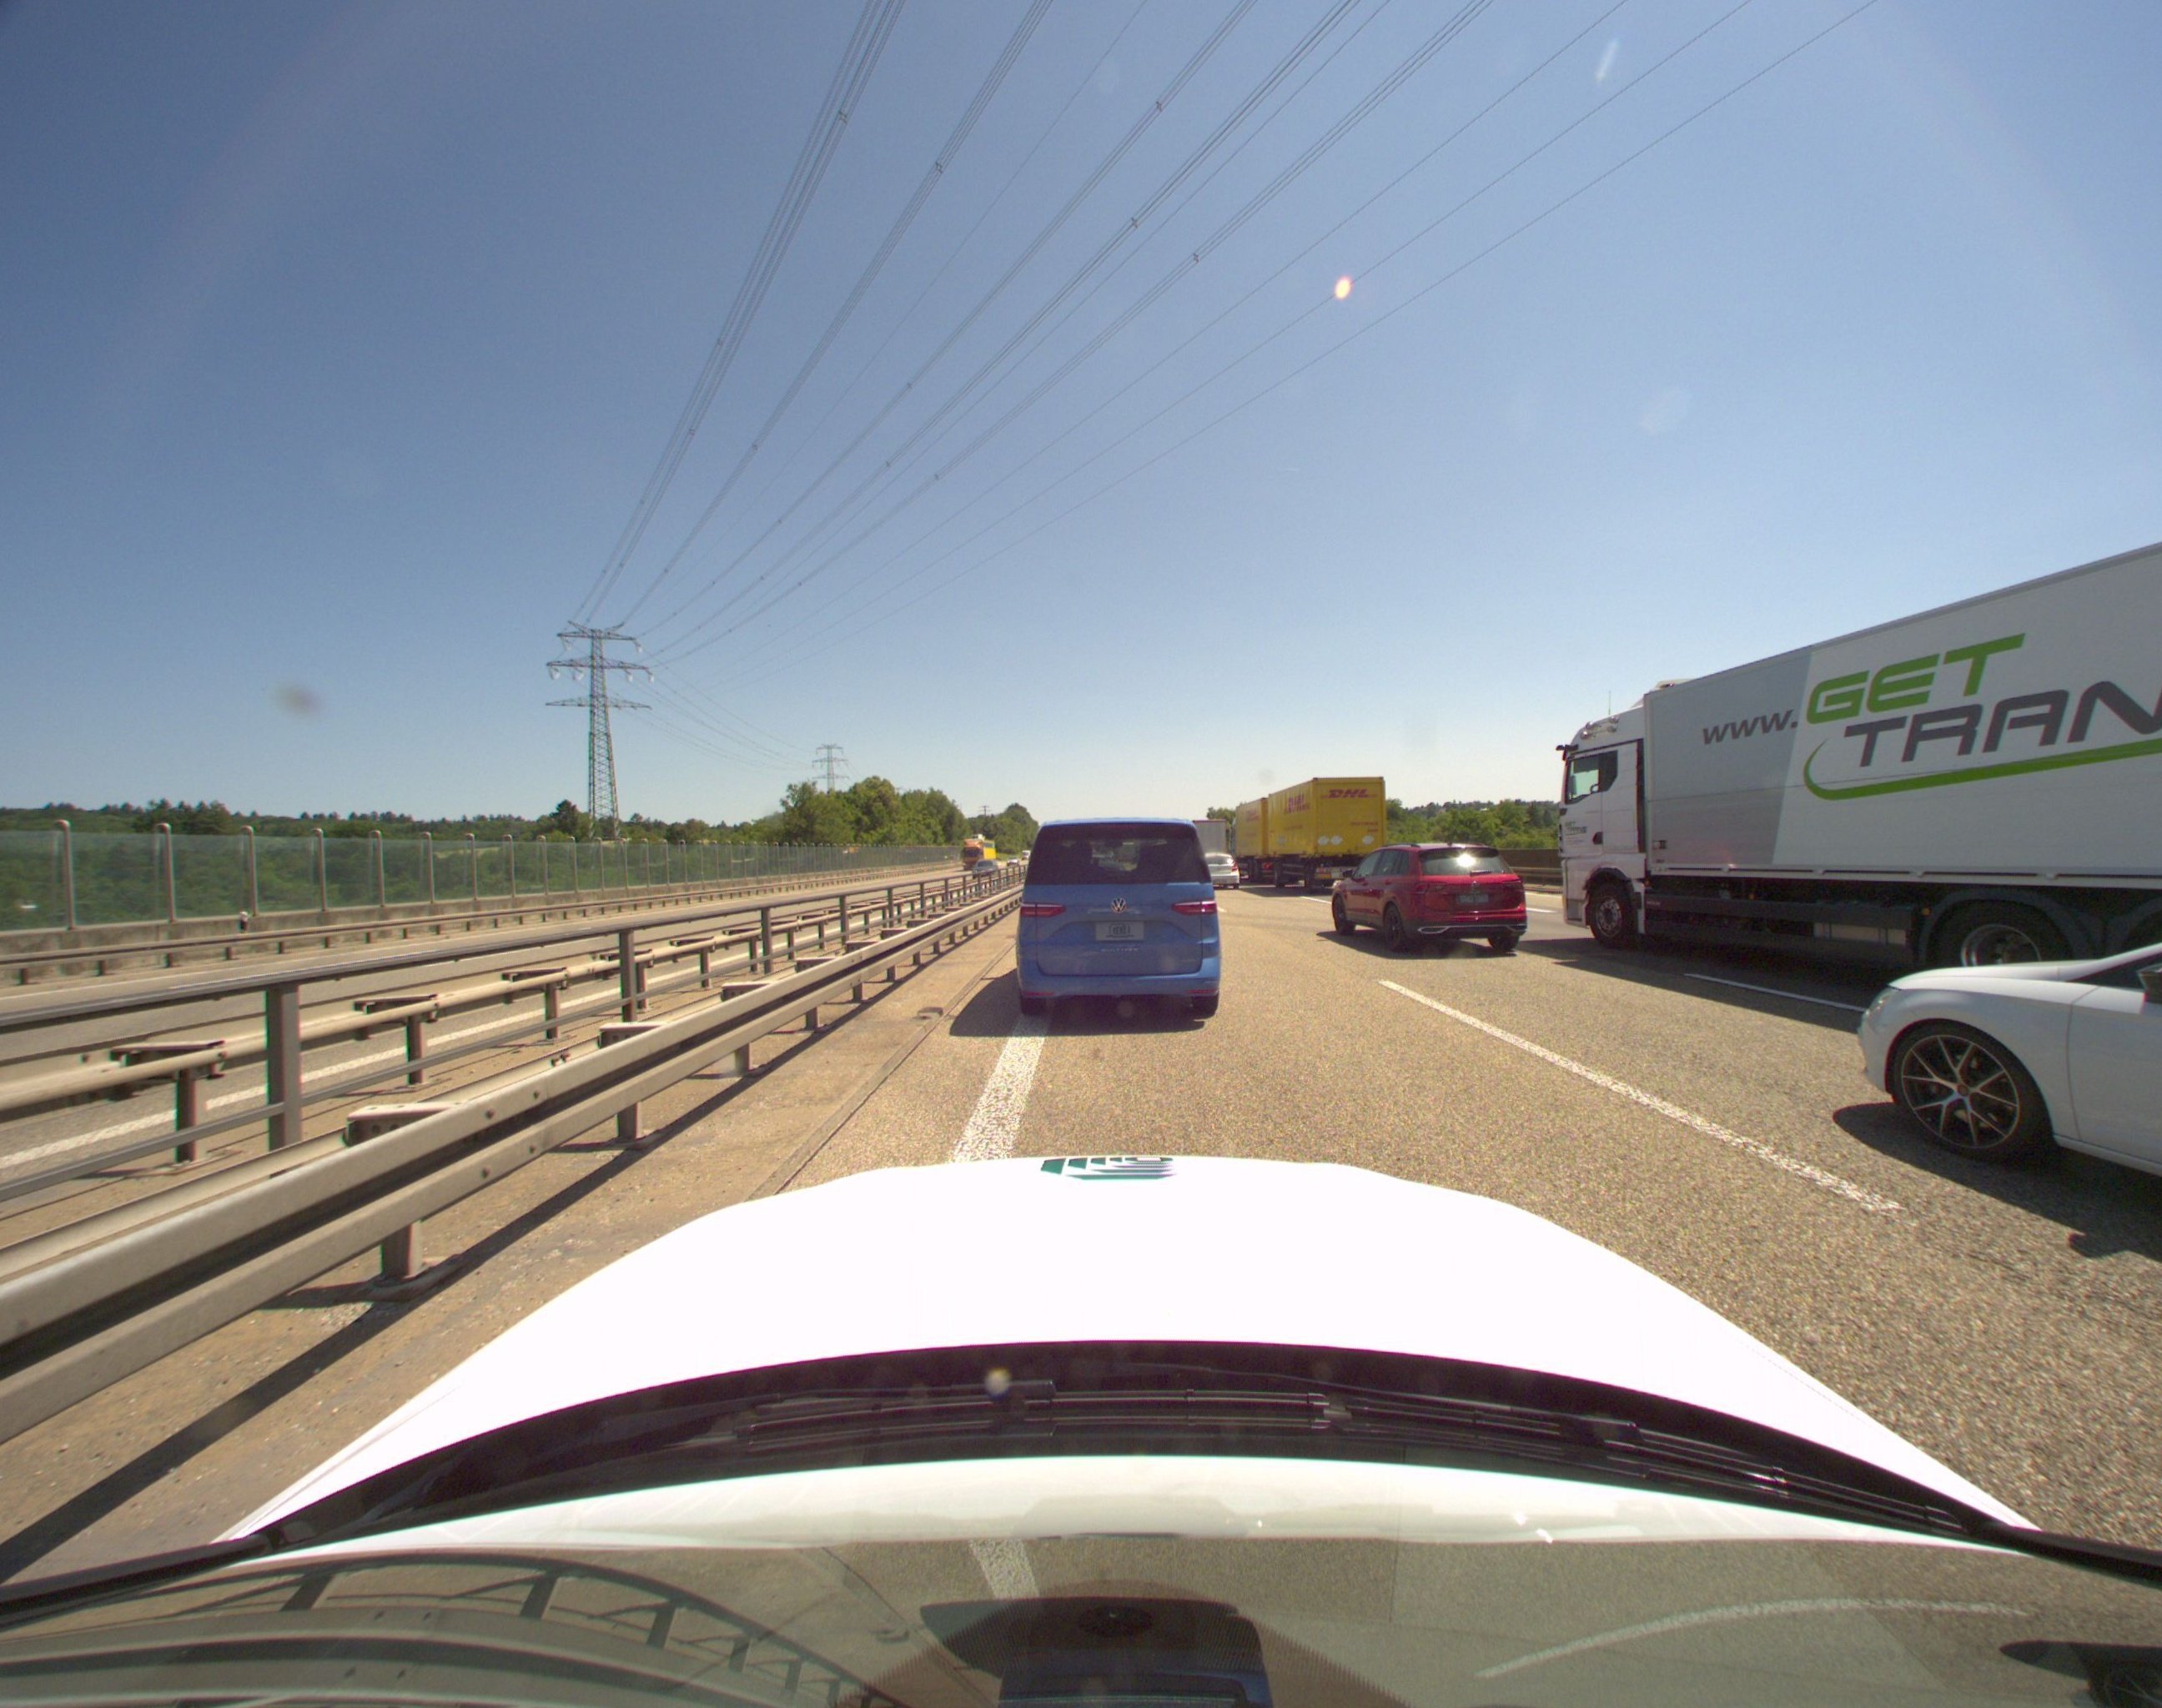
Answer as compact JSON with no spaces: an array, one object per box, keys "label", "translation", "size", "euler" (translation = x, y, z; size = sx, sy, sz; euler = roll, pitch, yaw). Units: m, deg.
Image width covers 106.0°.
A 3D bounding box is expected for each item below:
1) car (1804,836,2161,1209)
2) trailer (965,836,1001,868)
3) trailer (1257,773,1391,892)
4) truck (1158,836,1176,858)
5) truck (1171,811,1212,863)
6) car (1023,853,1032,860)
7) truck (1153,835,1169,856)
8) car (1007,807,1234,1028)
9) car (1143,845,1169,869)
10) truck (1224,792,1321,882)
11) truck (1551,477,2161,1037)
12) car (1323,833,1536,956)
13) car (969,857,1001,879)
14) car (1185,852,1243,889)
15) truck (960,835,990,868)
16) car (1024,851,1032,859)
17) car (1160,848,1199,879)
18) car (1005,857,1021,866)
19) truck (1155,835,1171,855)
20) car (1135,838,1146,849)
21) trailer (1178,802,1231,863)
[{"label":"car","translation":[5.046,0.652,2.545],"size":[1.702,1.451,4.429],"euler":[-1,0,1]},{"label":"trailer","translation":[-13.785,-0.219,115.769],"size":[2.617,4.114,14.026],"euler":[-2,-1,3]},{"label":"trailer","translation":[9.342,-0.716,32.571],"size":[2.674,4.088,8.979],"euler":[-1,-1,0]},{"label":"truck","translation":[9.957,-0.745,94.526],"size":[1.791,2.449,4.505],"euler":[-1,-1,2]},{"label":"truck","translation":[10.339,-1.515,77.027],"size":[3.015,4.611,7.923],"euler":[-1,-1,2]},{"label":"car","translation":[-13.451,0.617,203.523],"size":[1.835,1.751,3.944],"euler":[-1,-1,1]},{"label":"truck","translation":[10.131,-1.068,103.386],"size":[1.735,2.549,4.211],"euler":[-1,-1,2]},{"label":"car","translation":[0.385,0.557,8.969],"size":[1.924,1.874,4.001],"euler":[-1,-1,1]},{"label":"car","translation":[6.382,0.250,69.390],"size":[1.955,1.936,3.933],"euler":[-1,-1,1]},{"label":"truck","translation":[9.596,-0.738,42.001],"size":[2.690,4.088,9.938],"euler":[-1,-1,0]},{"label":"truck","translation":[9.069,-0.671,8.039],"size":[2.842,3.934,10.611],"euler":[-1,-1,1]},{"label":"car","translation":[5.472,0.590,13.452],"size":[1.702,1.679,4.285],"euler":[-1,-1,1]},{"label":"car","translation":[-7.409,1.042,62.965],"size":[1.755,1.508,4.225],"euler":[-3,0,2]},{"label":"car","translation":[5.618,0.696,34.805],"size":[1.809,1.470,3.931],"euler":[-1,-1,0]},{"label":"truck","translation":[-14.163,-0.236,108.956],"size":[2.660,4.185,6.292],"euler":[-2,-1,3]},{"label":"car","translation":[-13.638,0.333,209.132],"size":[1.835,2.042,3.944],"euler":[-1,-1,1]},{"label":"car","translation":[5.628,0.531,46.980],"size":[1.808,1.679,3.933],"euler":[-1,-1,1]},{"label":"car","translation":[-10.416,1.113,124.681],"size":[1.681,1.303,4.017],"euler":[-4,-1,4]},{"label":"truck","translation":[10.881,-1.196,108.656],"size":[1.790,2.596,4.307],"euler":[-1,-1,2]},{"label":"car","translation":[11.654,-1.992,159.343],"size":[1.986,2.014,4.001],"euler":[-1,-1,1]},{"label":"trailer","translation":[10.060,-1.591,67.591],"size":[3.015,4.611,10.928],"euler":[-1,-1,2]}]
